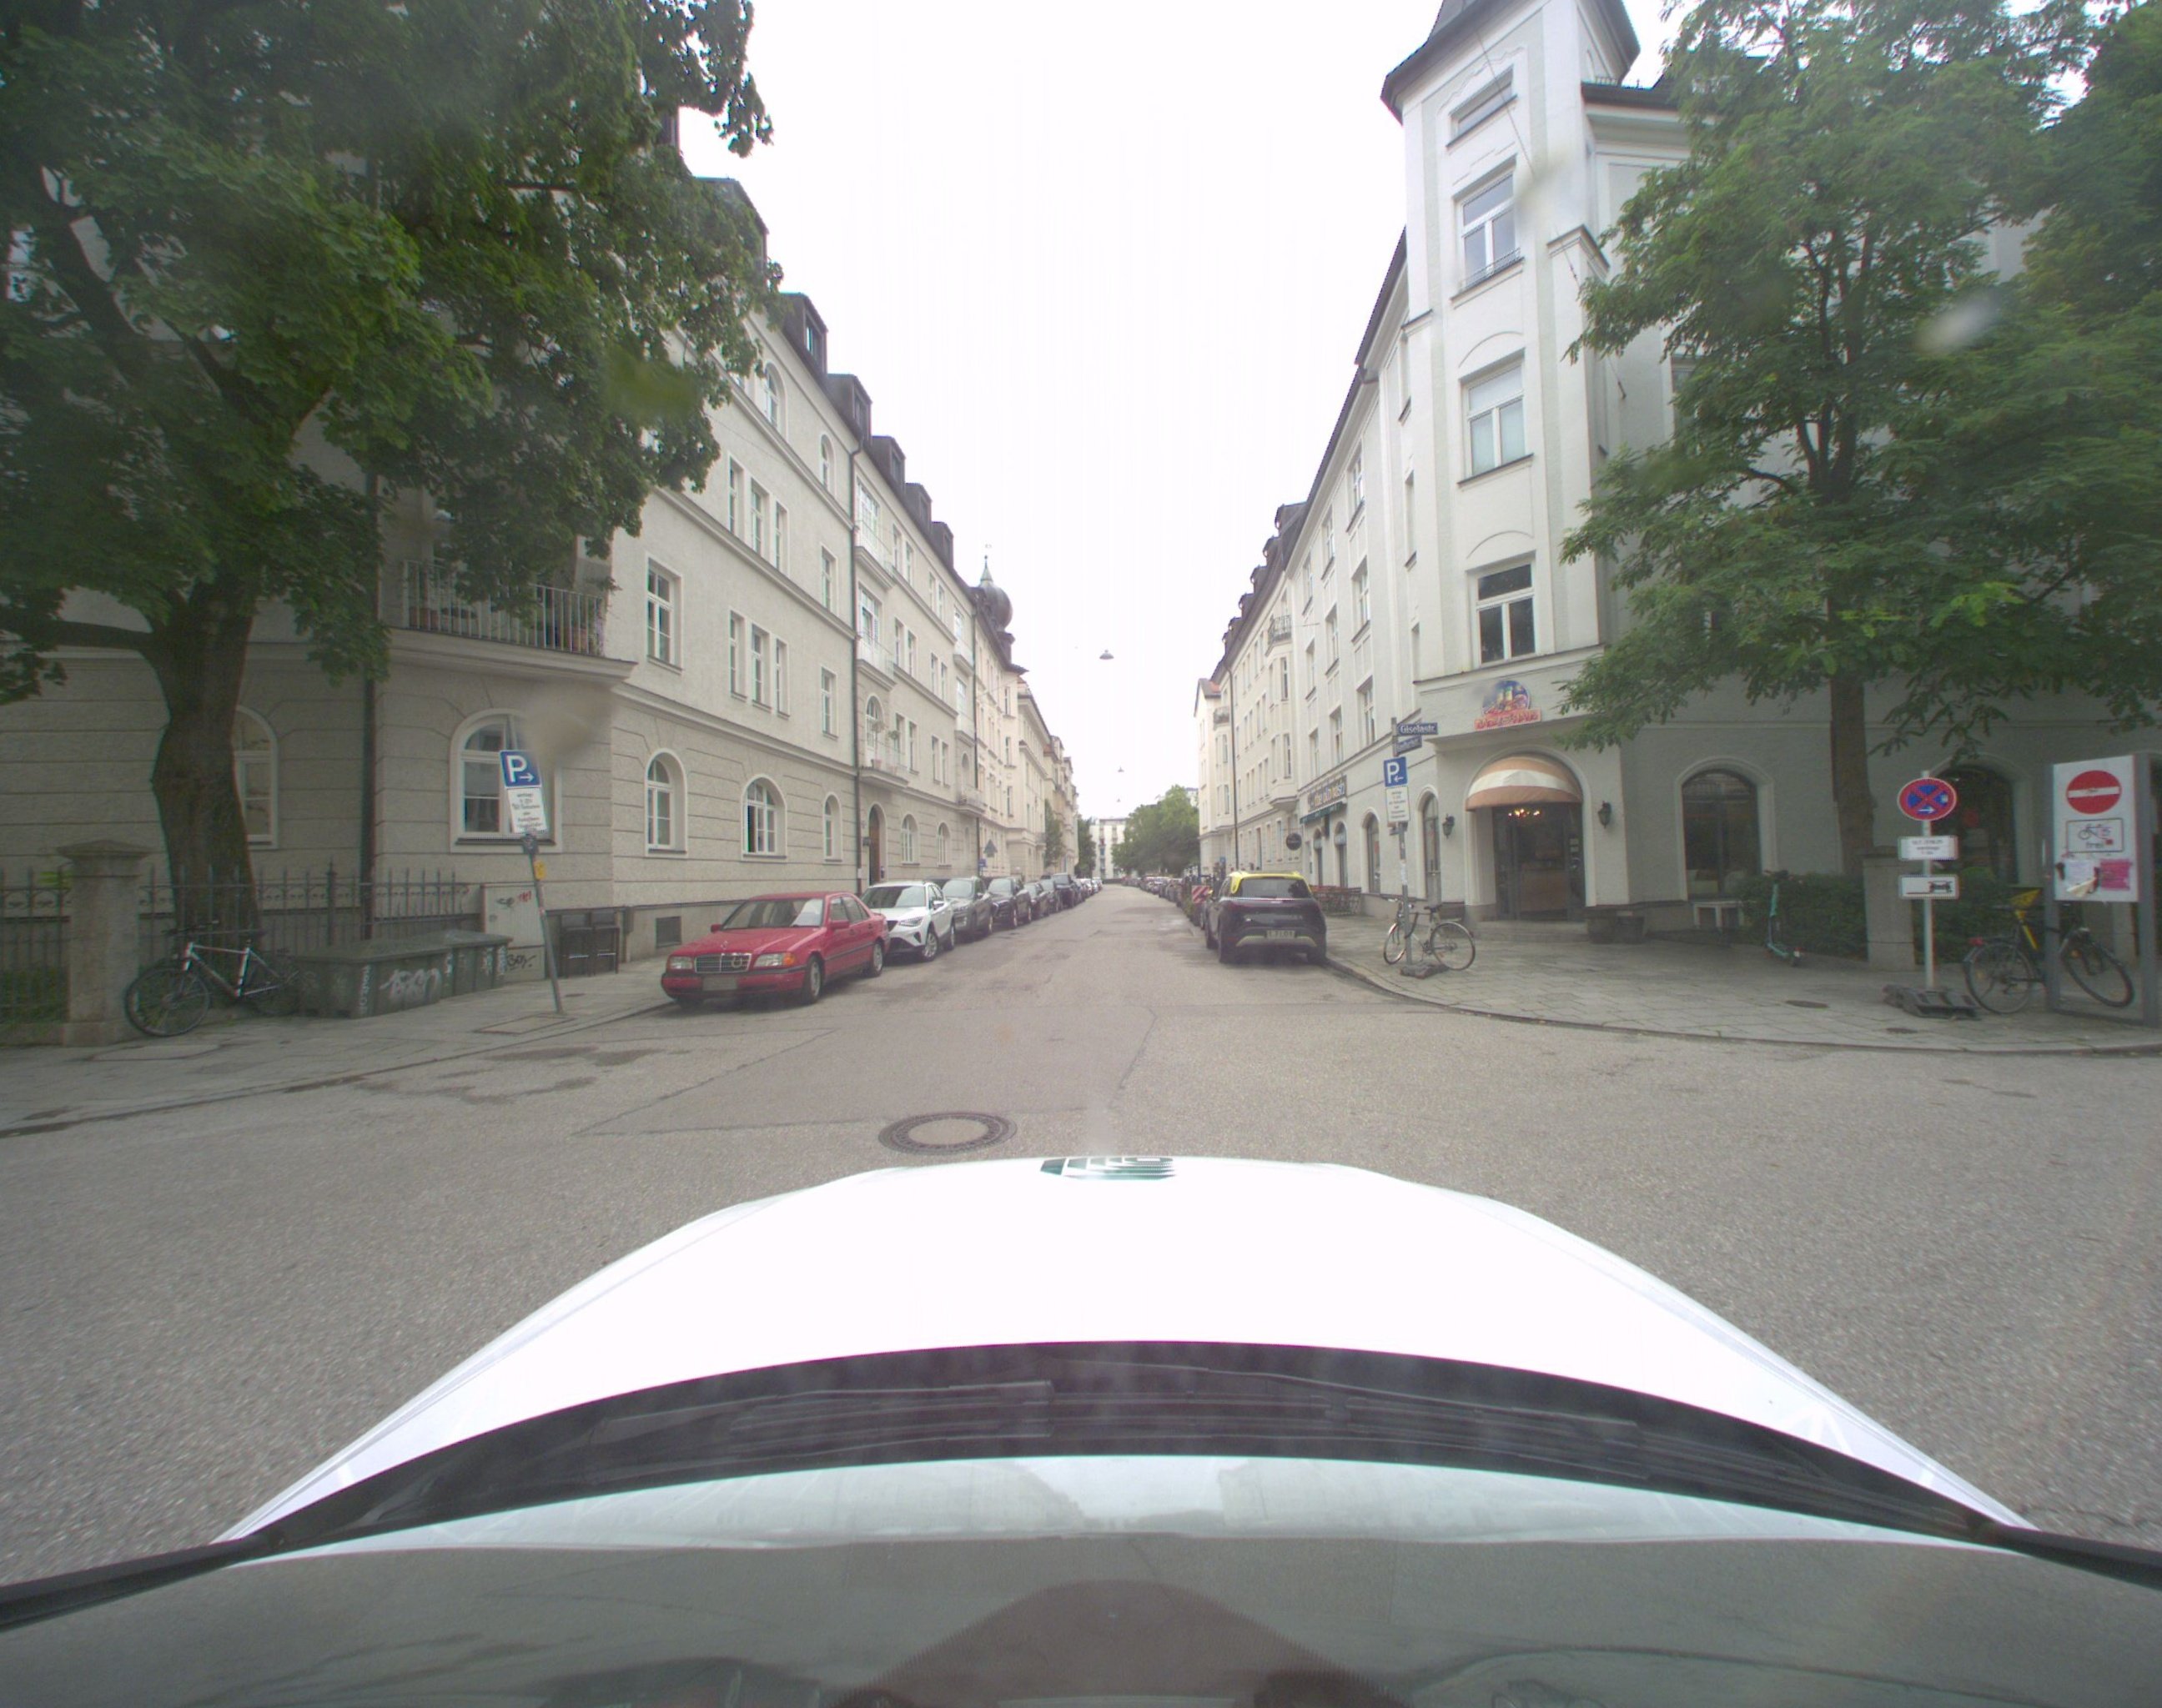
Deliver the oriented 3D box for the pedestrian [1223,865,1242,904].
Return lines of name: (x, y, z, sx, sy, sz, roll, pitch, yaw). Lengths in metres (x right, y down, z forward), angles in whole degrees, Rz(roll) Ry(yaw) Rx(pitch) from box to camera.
pedestrian: (7.531, 1.506, 40.507, 0.774, 1.851, 1.024, -2, -2, 5)

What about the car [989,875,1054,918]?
car: (-2.295, 1.647, 32.456, 1.916, 1.546, 4.005, -1, -1, 5)

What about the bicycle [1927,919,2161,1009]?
bicycle: (9.379, 1.071, 7.984, 1.404, 0.783, 0.546, -3, -2, 12)

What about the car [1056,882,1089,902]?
car: (-0.529, 2.546, 54.788, 1.898, 1.222, 4.003, -2, -1, 3)

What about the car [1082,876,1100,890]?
car: (1.130, 3.318, 93.455, 1.986, 1.574, 4.001, -2, -2, 1)

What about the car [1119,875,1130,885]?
car: (8.982, 5.466, 169.054, 1.987, 1.982, 4.892, -1, -1, 1)

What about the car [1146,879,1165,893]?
car: (7.713, 3.312, 84.511, 1.723, 1.418, 3.853, -2, -2, 2)

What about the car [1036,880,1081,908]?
car: (-1.153, 2.090, 42.958, 1.897, 1.329, 4.005, -2, -1, 5)

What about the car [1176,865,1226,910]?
car: (5.249, 1.451, 36.101, 1.983, 1.857, 4.352, -1, -1, 6)

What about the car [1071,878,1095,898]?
car: (0.205, 2.741, 66.353, 1.814, 1.574, 4.001, -2, -2, 1)

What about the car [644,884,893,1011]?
car: (-4.125, 1.166, 11.571, 1.724, 1.378, 4.228, -2, -2, 2)

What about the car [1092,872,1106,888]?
car: (2.474, 3.537, 111.286, 1.839, 2.014, 4.002, -2, -2, 2)

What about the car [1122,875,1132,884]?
car: (10.194, 5.688, 180.641, 1.987, 1.982, 4.892, -1, -1, 1)

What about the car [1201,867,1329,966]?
car: (3.397, 1.094, 15.784, 1.812, 1.636, 4.293, 0, -1, 4)

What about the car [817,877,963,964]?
car: (-3.672, 1.225, 16.428, 1.988, 1.473, 4.216, -1, -2, -1)

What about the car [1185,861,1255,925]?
car: (4.350, 1.206, 26.100, 1.812, 1.871, 4.293, 0, -1, 4)

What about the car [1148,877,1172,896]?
car: (7.156, 2.940, 73.795, 1.899, 1.576, 4.001, -2, -2, 2)

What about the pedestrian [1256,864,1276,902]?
pedestrian: (9.058, 1.411, 39.915, 0.774, 1.851, 1.024, -2, -2, 5)

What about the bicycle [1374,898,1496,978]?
bicycle: (5.146, 1.191, 11.968, 0.541, 0.999, 1.744, -4, -1, -19)

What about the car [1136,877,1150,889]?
car: (9.791, 4.609, 129.473, 1.943, 1.652, 4.001, -3, -2, 2)

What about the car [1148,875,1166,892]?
car: (9.493, 3.675, 102.523, 1.986, 1.982, 4.895, -1, -1, 2)

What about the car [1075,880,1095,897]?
car: (0.398, 3.012, 72.308, 1.727, 1.420, 4.000, -2, -1, 1)

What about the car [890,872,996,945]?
car: (-3.493, 1.355, 21.375, 1.987, 1.676, 4.012, -2, -2, 1)

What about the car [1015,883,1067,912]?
car: (-1.827, 2.004, 38.300, 1.897, 1.222, 4.005, -2, -1, 5)

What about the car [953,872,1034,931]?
car: (-2.723, 1.466, 26.361, 1.986, 1.676, 4.290, -2, -2, 2)

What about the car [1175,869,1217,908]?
car: (5.640, 1.675, 40.325, 1.812, 1.788, 4.187, 0, -1, 4)

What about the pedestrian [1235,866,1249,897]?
pedestrian: (9.948, 1.689, 50.255, 0.773, 1.851, 0.862, -2, -2, 11)

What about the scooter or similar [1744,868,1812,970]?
scooter or similar: (9.475, 0.847, 11.105, 0.423, 1.279, 1.287, -2, 0, 28)

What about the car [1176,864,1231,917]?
car: (4.695, 1.383, 31.746, 1.812, 1.924, 4.187, 0, -1, 4)

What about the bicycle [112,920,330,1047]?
bicycle: (-9.169, 1.330, 8.800, 0.492, 1.052, 1.824, -1, 0, -4)

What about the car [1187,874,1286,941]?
car: (3.817, 1.261, 20.701, 1.967, 1.498, 4.642, 0, -1, 4)
